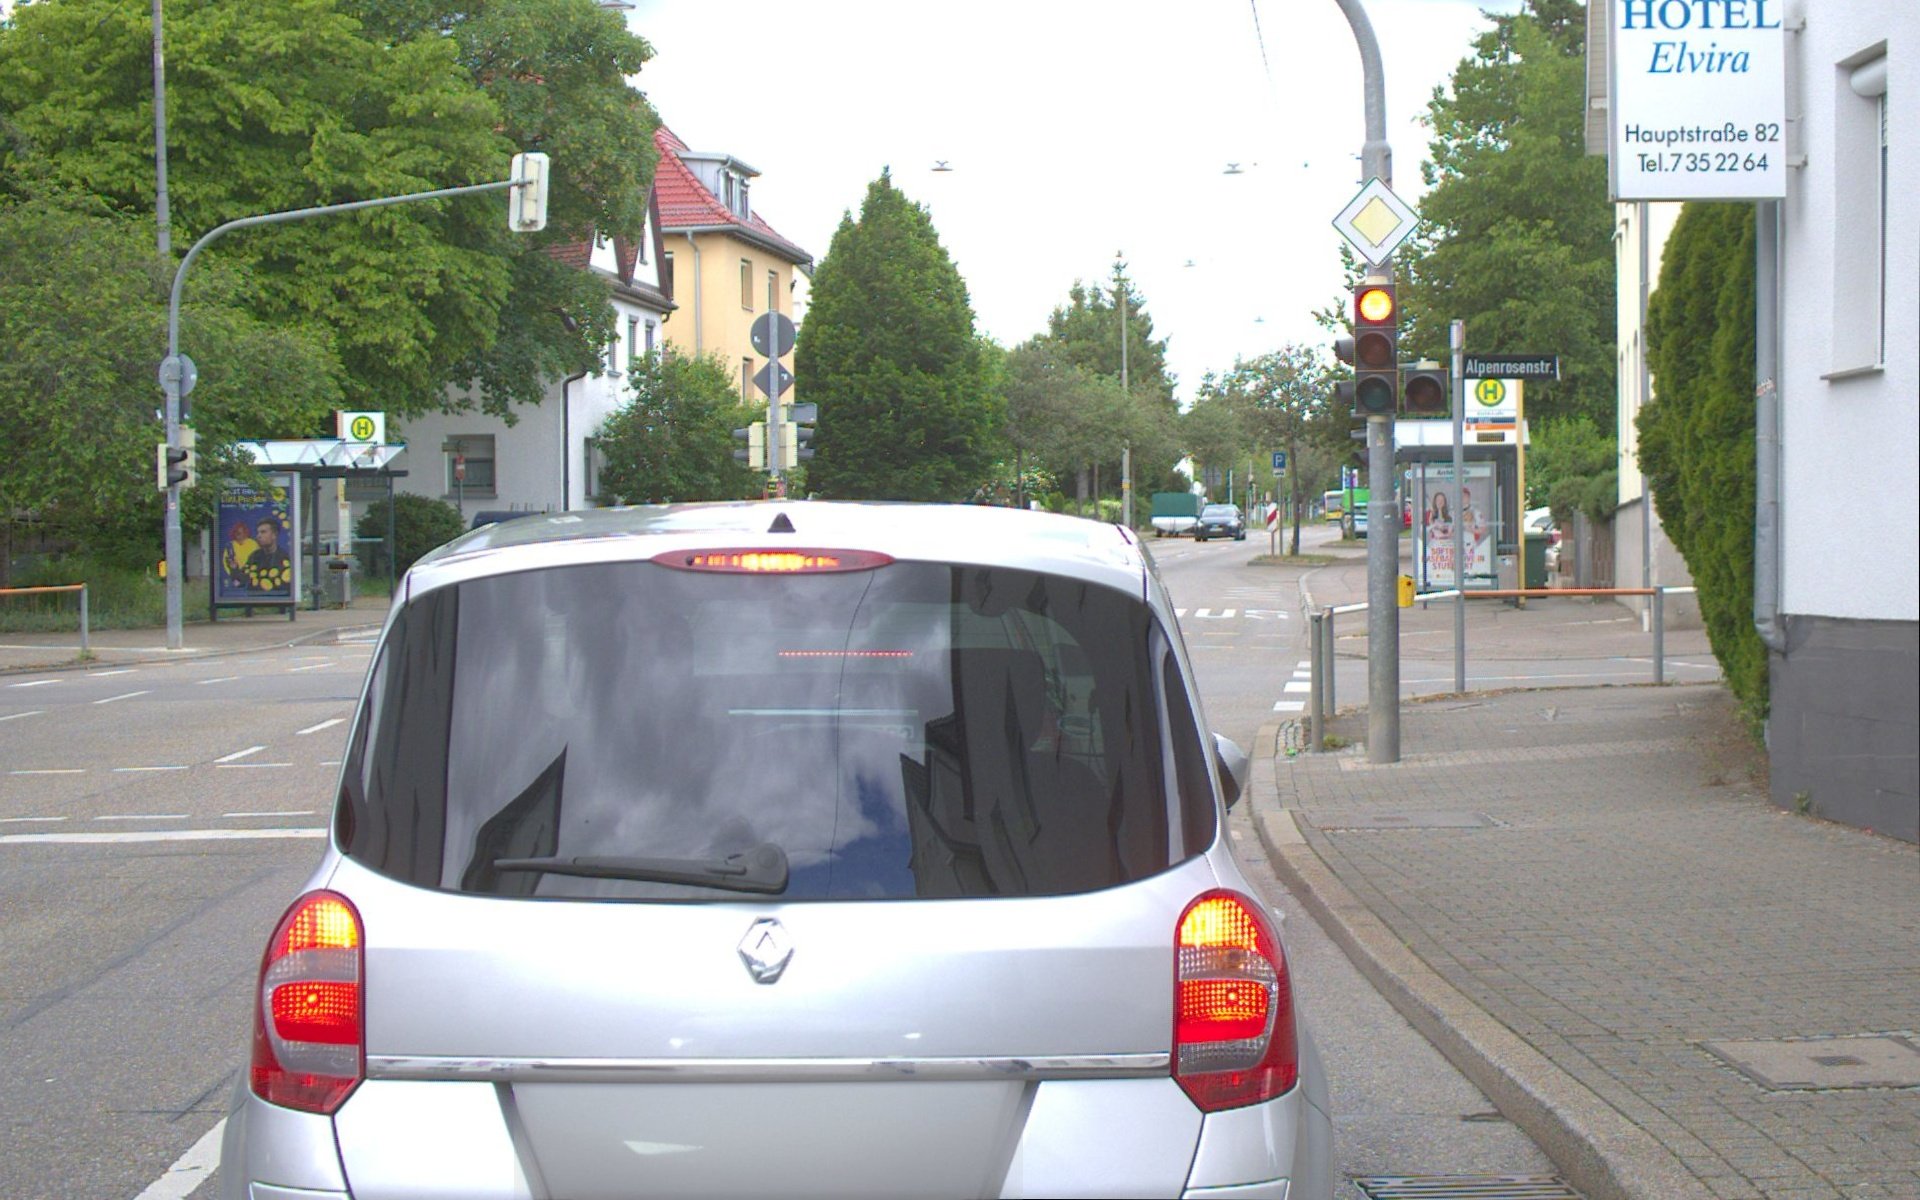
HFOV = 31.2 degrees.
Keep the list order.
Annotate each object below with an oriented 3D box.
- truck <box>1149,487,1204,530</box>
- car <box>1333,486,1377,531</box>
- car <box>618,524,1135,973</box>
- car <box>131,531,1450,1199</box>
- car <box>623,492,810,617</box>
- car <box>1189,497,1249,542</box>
[{"bbox_3d":[10.495,-4.431,166.511,2.102,2.007,5.745,0,1,9],"label":"truck"},{"bbox_3d":[22.720,-5.269,197.587,2.060,2.503,5.593,1,1,11],"label":"car"},{"bbox_3d":[-0.319,0.480,13.641,1.755,1.525,3.797,0,1,-1],"label":"car"},{"bbox_3d":[-0.262,0.645,6.595,1.755,1.525,4.000,0,1,-1],"label":"car"},{"bbox_3d":[-3.784,-0.742,54.198,1.927,1.767,3.999,-4,1,10],"label":"car"},{"bbox_3d":[10.219,-3.155,135.427,1.858,1.742,3.998,1,1,11],"label":"car"}]
